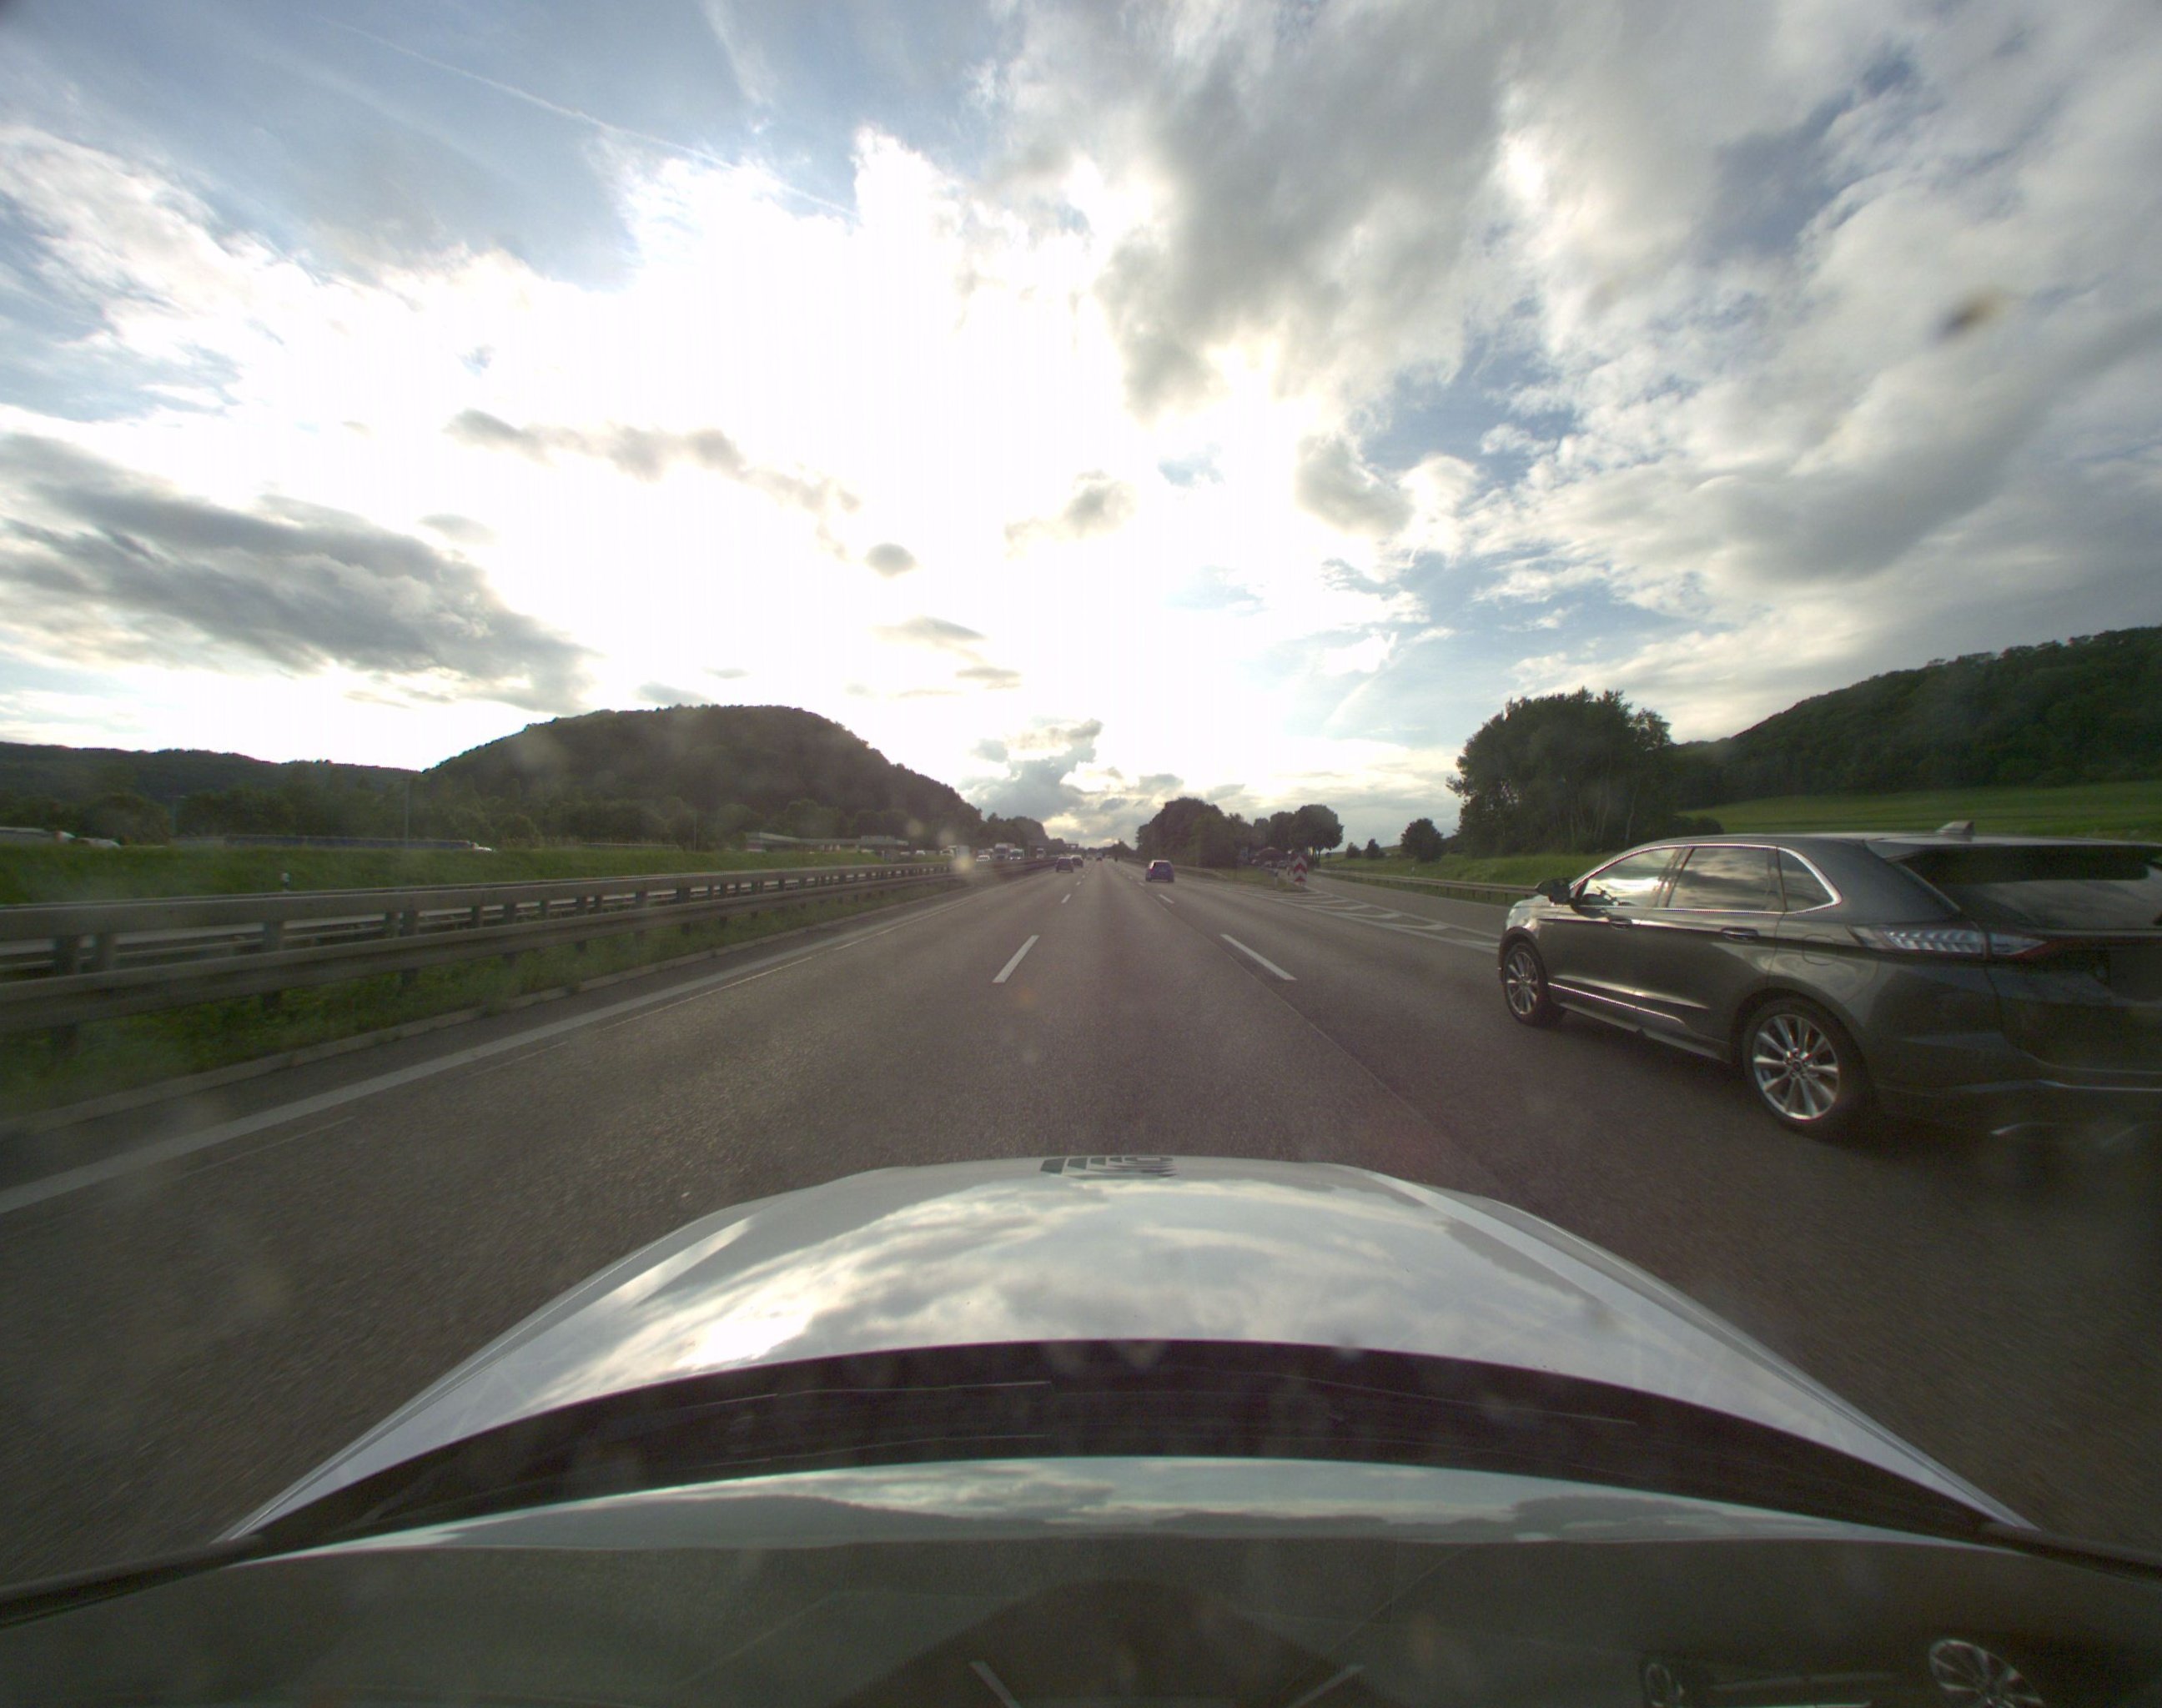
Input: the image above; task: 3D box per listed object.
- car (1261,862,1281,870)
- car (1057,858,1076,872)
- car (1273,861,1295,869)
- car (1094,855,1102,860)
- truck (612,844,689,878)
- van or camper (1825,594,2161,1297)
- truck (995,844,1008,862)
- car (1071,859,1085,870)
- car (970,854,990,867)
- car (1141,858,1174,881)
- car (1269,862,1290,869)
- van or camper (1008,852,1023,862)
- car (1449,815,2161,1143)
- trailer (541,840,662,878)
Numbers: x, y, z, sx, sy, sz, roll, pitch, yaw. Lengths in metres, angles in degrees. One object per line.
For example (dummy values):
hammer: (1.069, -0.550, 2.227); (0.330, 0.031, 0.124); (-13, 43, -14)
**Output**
car: (40.957, 2.577, 175.898); (4.331, 1.556, 1.967); (1, -2, -40)
car: (-1.407, 1.063, 80.340); (1.532, 1.348, 3.679); (-2, 0, 2)
car: (40.408, 2.221, 161.875); (4.331, 1.556, 1.967); (1, -2, -40)
car: (4.937, 1.013, 237.866); (1.747, 1.222, 3.995); (-4, 0, -3)
truck: (-38.061, 0.677, 72.394); (2.569, 2.854, 7.537); (-1, -2, 2)
van or camper: (4.620, 0.288, 1.120); (2.537, 2.239, 5.334); (0, 0, 3)
truck: (-16.491, -0.163, 169.326); (1.987, 3.414, 6.737); (-1, -2, 0)
car: (-0.386, 1.496, 115.626); (1.558, 1.380, 4.004); (-2, 0, 4)
car: (-13.333, 0.927, 107.626); (1.986, 1.623, 4.000); (-1, -2, 1)
car: (5.125, 0.987, 55.007); (1.761, 1.433, 3.999); (-2, 0, 0)
car: (40.813, 2.356, 167.371); (4.331, 1.556, 1.967); (1, -2, -40)
van or camper: (-12.411, 0.600, 155.162); (2.068, 1.930, 4.350); (-2, -1, 5)
car: (4.750, 0.637, 6.387); (1.780, 1.652, 4.483); (-1, 0, 1)
trailer: (-38.388, 0.514, 65.931); (2.568, 2.854, 11.386); (-1, -1, 2)
